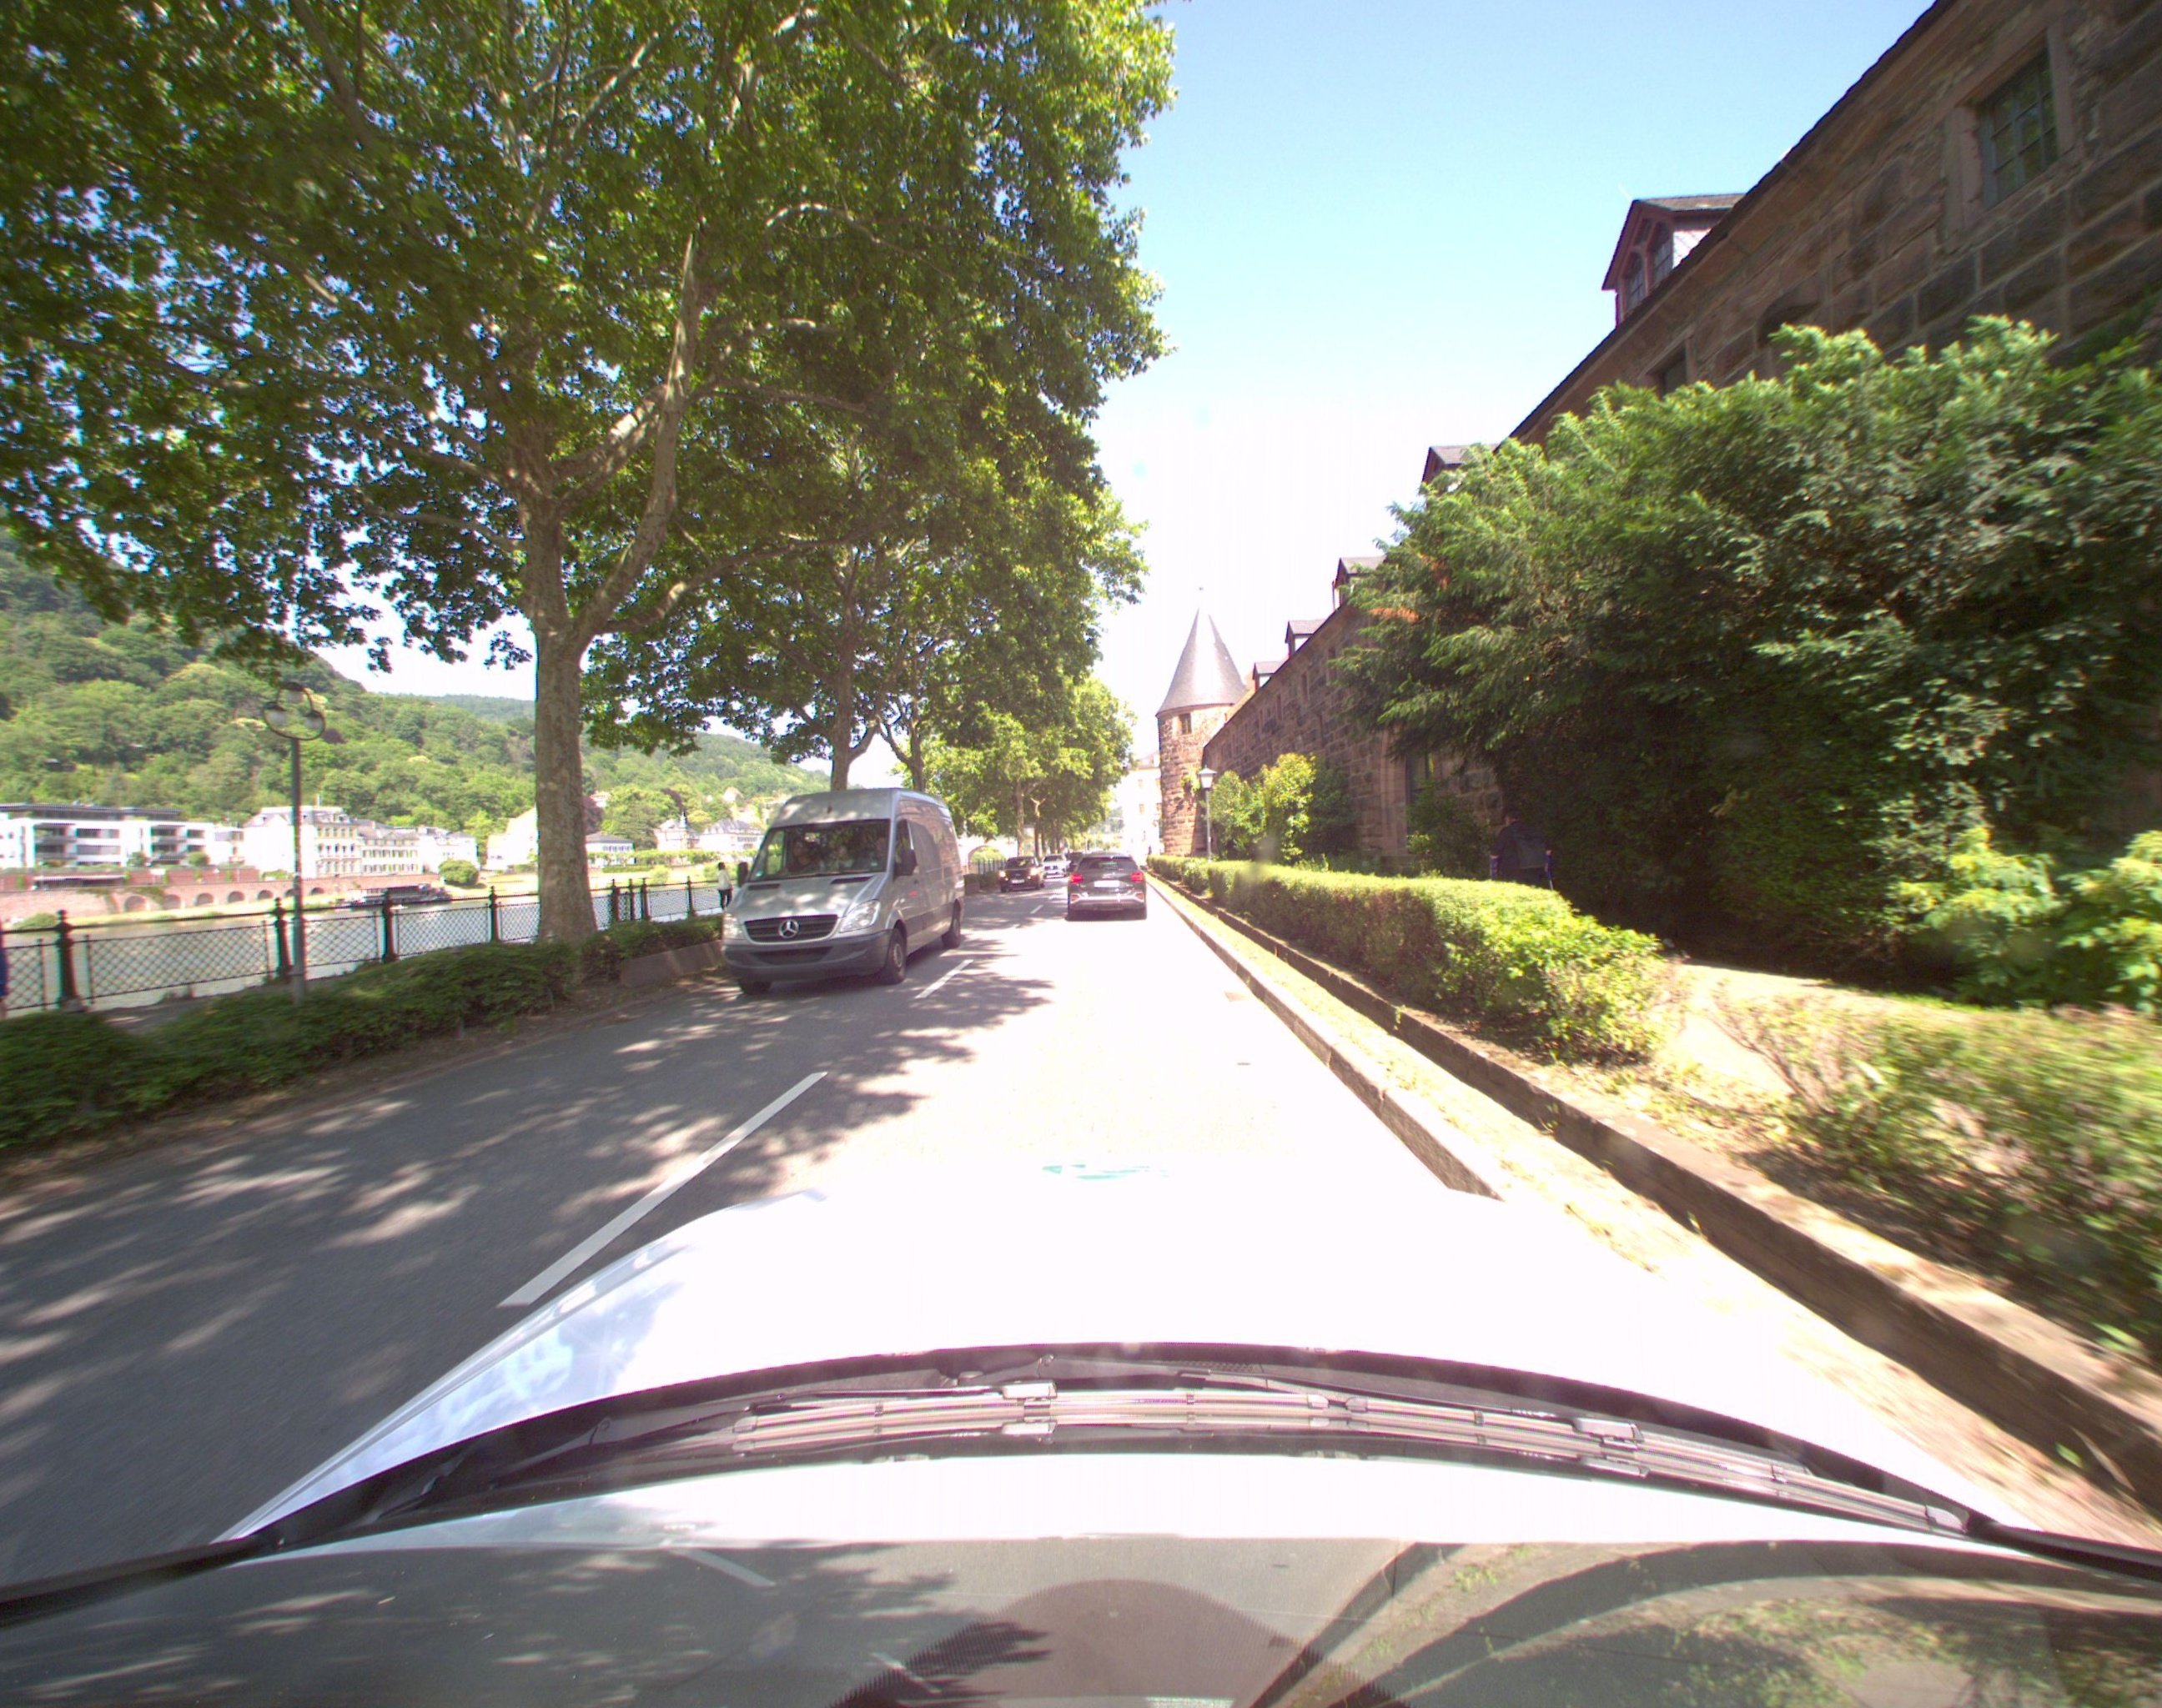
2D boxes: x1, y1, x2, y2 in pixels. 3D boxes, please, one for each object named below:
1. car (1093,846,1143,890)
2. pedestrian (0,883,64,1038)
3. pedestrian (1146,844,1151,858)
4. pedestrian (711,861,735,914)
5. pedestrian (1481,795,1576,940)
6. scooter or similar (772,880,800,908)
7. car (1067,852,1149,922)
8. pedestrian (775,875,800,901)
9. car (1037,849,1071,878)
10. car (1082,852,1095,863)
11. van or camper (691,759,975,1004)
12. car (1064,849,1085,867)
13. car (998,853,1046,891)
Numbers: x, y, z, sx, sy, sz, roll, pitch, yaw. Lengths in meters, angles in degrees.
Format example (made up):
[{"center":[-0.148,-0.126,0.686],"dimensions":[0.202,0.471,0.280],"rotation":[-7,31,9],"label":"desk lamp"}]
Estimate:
[{"center":[1.488,0.518,32.703],"dimensions":[1.794,1.562,3.719],"rotation":[-4,0,3],"label":"car"},{"center":[-11.671,1.136,8.693],"dimensions":[0.701,1.603,0.705],"rotation":[-2,-1,4],"label":"pedestrian"},{"center":[8.267,-0.361,99.935],"dimensions":[0.554,1.633,0.660],"rotation":[-1,0,3],"label":"pedestrian"},{"center":[-11.632,1.075,26.480],"dimensions":[0.582,1.710,0.403],"rotation":[-1,0,0],"label":"pedestrian"},{"center":[5.397,0.154,9.857],"dimensions":[0.695,1.652,0.706],"rotation":[-4,0,4],"label":"pedestrian"},{"center":[-10.918,1.471,30.164],"dimensions":[0.629,0.968,1.013],"rotation":[0,0,2],"label":"scooter or similar"},{"center":[0.610,0.702,19.295],"dimensions":[1.742,1.494,3.630],"rotation":[-1,0,1],"label":"car"},{"center":[-10.905,1.256,30.268],"dimensions":[0.605,0.884,0.705],"rotation":[-2,0,2],"label":"pedestrian"},{"center":[-1.756,0.635,54.335],"dimensions":[1.870,1.698,4.260],"rotation":[-4,0,1],"label":"car"},{"center":[1.097,0.581,122.951],"dimensions":[1.607,1.523,3.480],"rotation":[-4,0,4],"label":"car"},{"center":[-3.134,0.307,11.940],"dimensions":[1.953,2.567,5.844],"rotation":[-5,0,2],"label":"van or camper"},{"center":[-0.632,0.413,82.036],"dimensions":[1.756,1.647,4.092],"rotation":[-4,0,2],"label":"car"},{"center":[-2.529,0.732,35.597],"dimensions":[1.643,1.469,3.780],"rotation":[-4,0,1],"label":"car"}]
